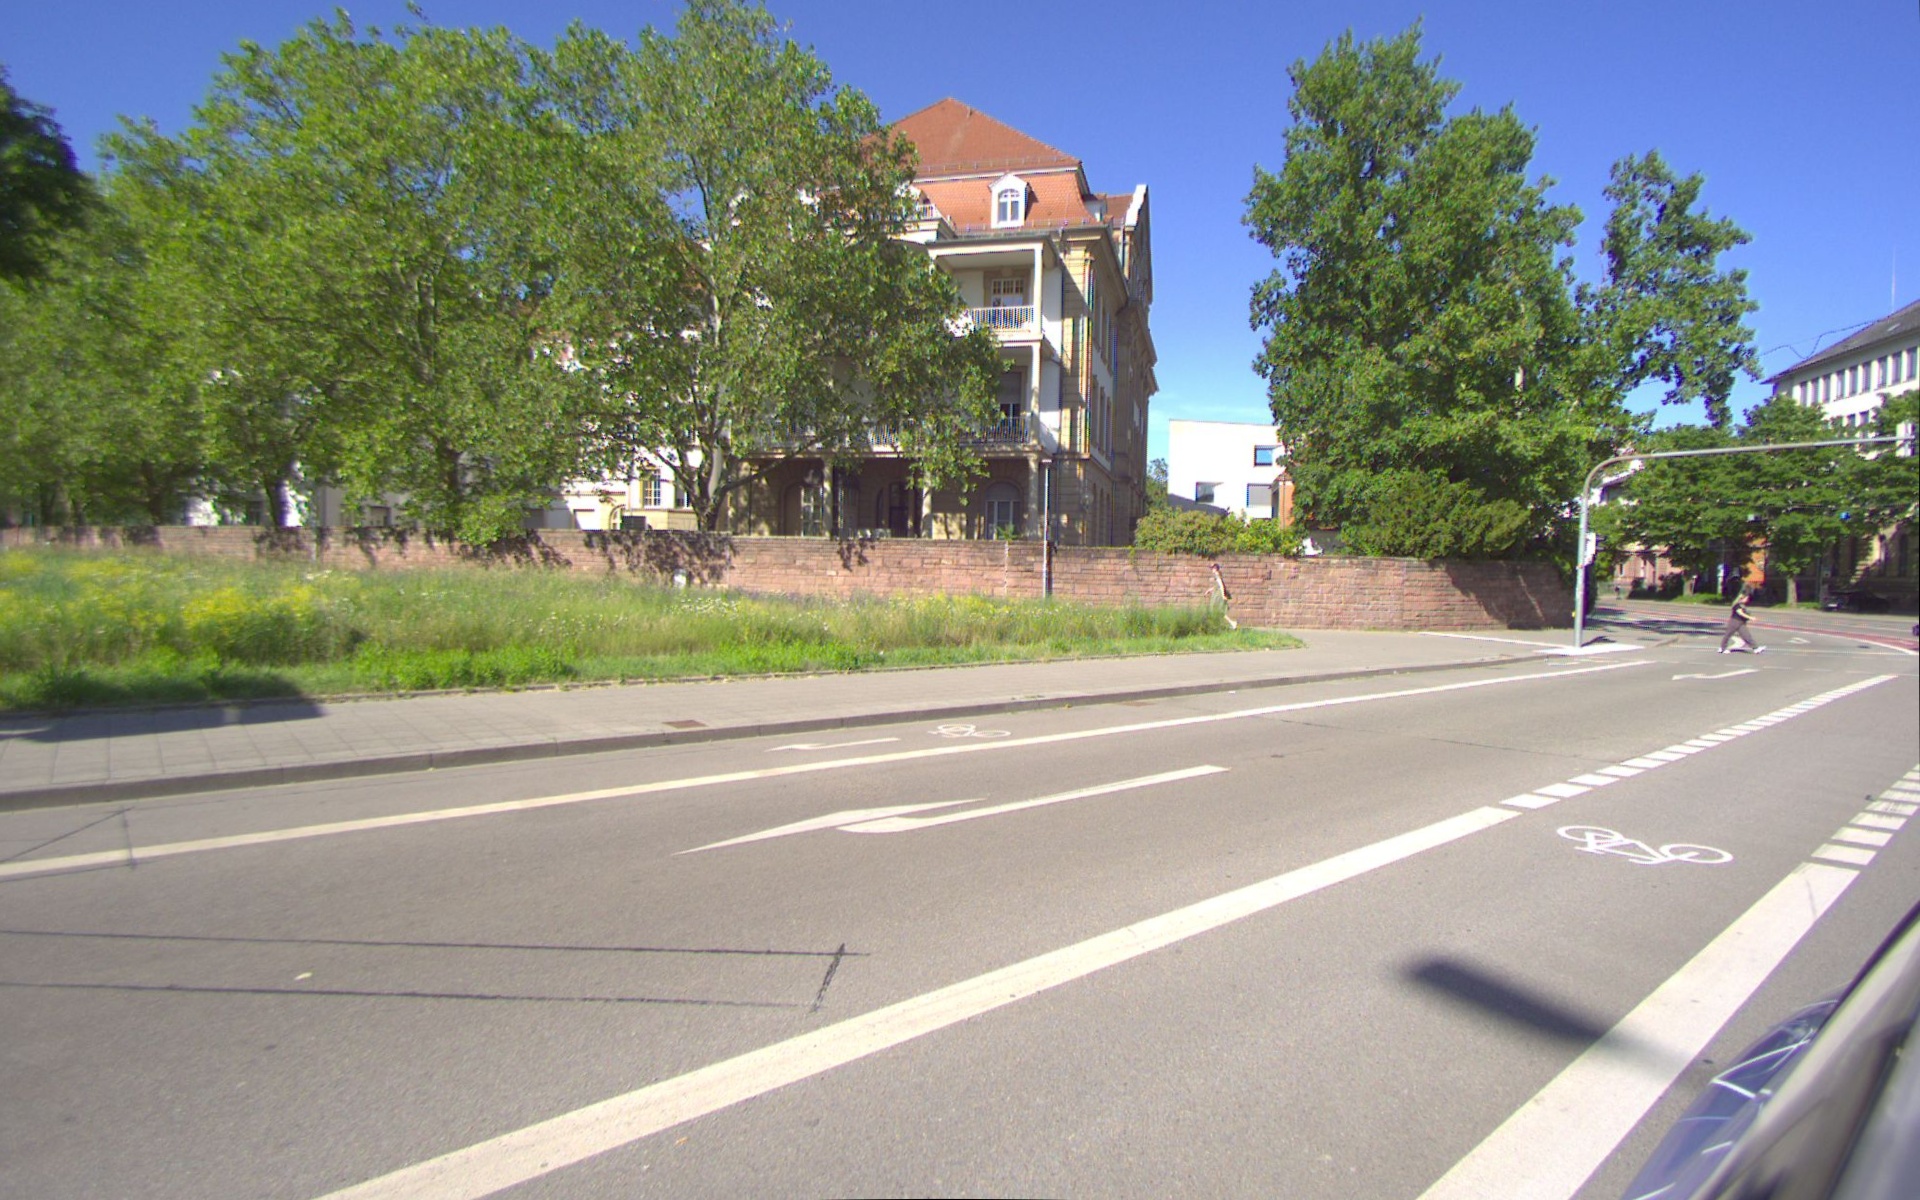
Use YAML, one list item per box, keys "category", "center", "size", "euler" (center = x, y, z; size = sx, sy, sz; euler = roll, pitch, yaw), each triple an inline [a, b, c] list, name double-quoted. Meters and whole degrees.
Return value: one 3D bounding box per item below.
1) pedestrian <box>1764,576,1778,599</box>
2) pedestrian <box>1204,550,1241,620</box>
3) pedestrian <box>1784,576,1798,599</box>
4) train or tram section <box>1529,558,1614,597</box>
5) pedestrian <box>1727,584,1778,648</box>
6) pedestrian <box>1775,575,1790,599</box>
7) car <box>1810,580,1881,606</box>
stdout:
- category: "pedestrian"
  center: [67.261, -1.051, 83.923]
  size: [0.568, 1.927, 0.781]
  euler: [1, 1, 12]
- category: "pedestrian"
  center: [7.125, -0.416, 27.508]
  size: [0.772, 1.881, 0.631]
  euler: [1, 1, -1]
- category: "pedestrian"
  center: [69.364, -1.068, 84.479]
  size: [0.568, 1.927, 0.849]
  euler: [1, 1, 12]
- category: "train or tram section"
  center: [60.513, -2.303, 100.663]
  size: [2.897, 3.563, 13.790]
  euler: [2, 2, 13]
- category: "pedestrian"
  center: [21.446, 0.421, 27.398]
  size: [0.619, 1.687, 0.931]
  euler: [0, 2, -41]
- category: "pedestrian"
  center: [67.994, -1.053, 83.665]
  size: [0.568, 1.927, 0.849]
  euler: [1, 1, 12]
- category: "car"
  center: [60.318, -0.513, 69.025]
  size: [1.806, 1.615, 3.988]
  euler: [2, 2, 11]
